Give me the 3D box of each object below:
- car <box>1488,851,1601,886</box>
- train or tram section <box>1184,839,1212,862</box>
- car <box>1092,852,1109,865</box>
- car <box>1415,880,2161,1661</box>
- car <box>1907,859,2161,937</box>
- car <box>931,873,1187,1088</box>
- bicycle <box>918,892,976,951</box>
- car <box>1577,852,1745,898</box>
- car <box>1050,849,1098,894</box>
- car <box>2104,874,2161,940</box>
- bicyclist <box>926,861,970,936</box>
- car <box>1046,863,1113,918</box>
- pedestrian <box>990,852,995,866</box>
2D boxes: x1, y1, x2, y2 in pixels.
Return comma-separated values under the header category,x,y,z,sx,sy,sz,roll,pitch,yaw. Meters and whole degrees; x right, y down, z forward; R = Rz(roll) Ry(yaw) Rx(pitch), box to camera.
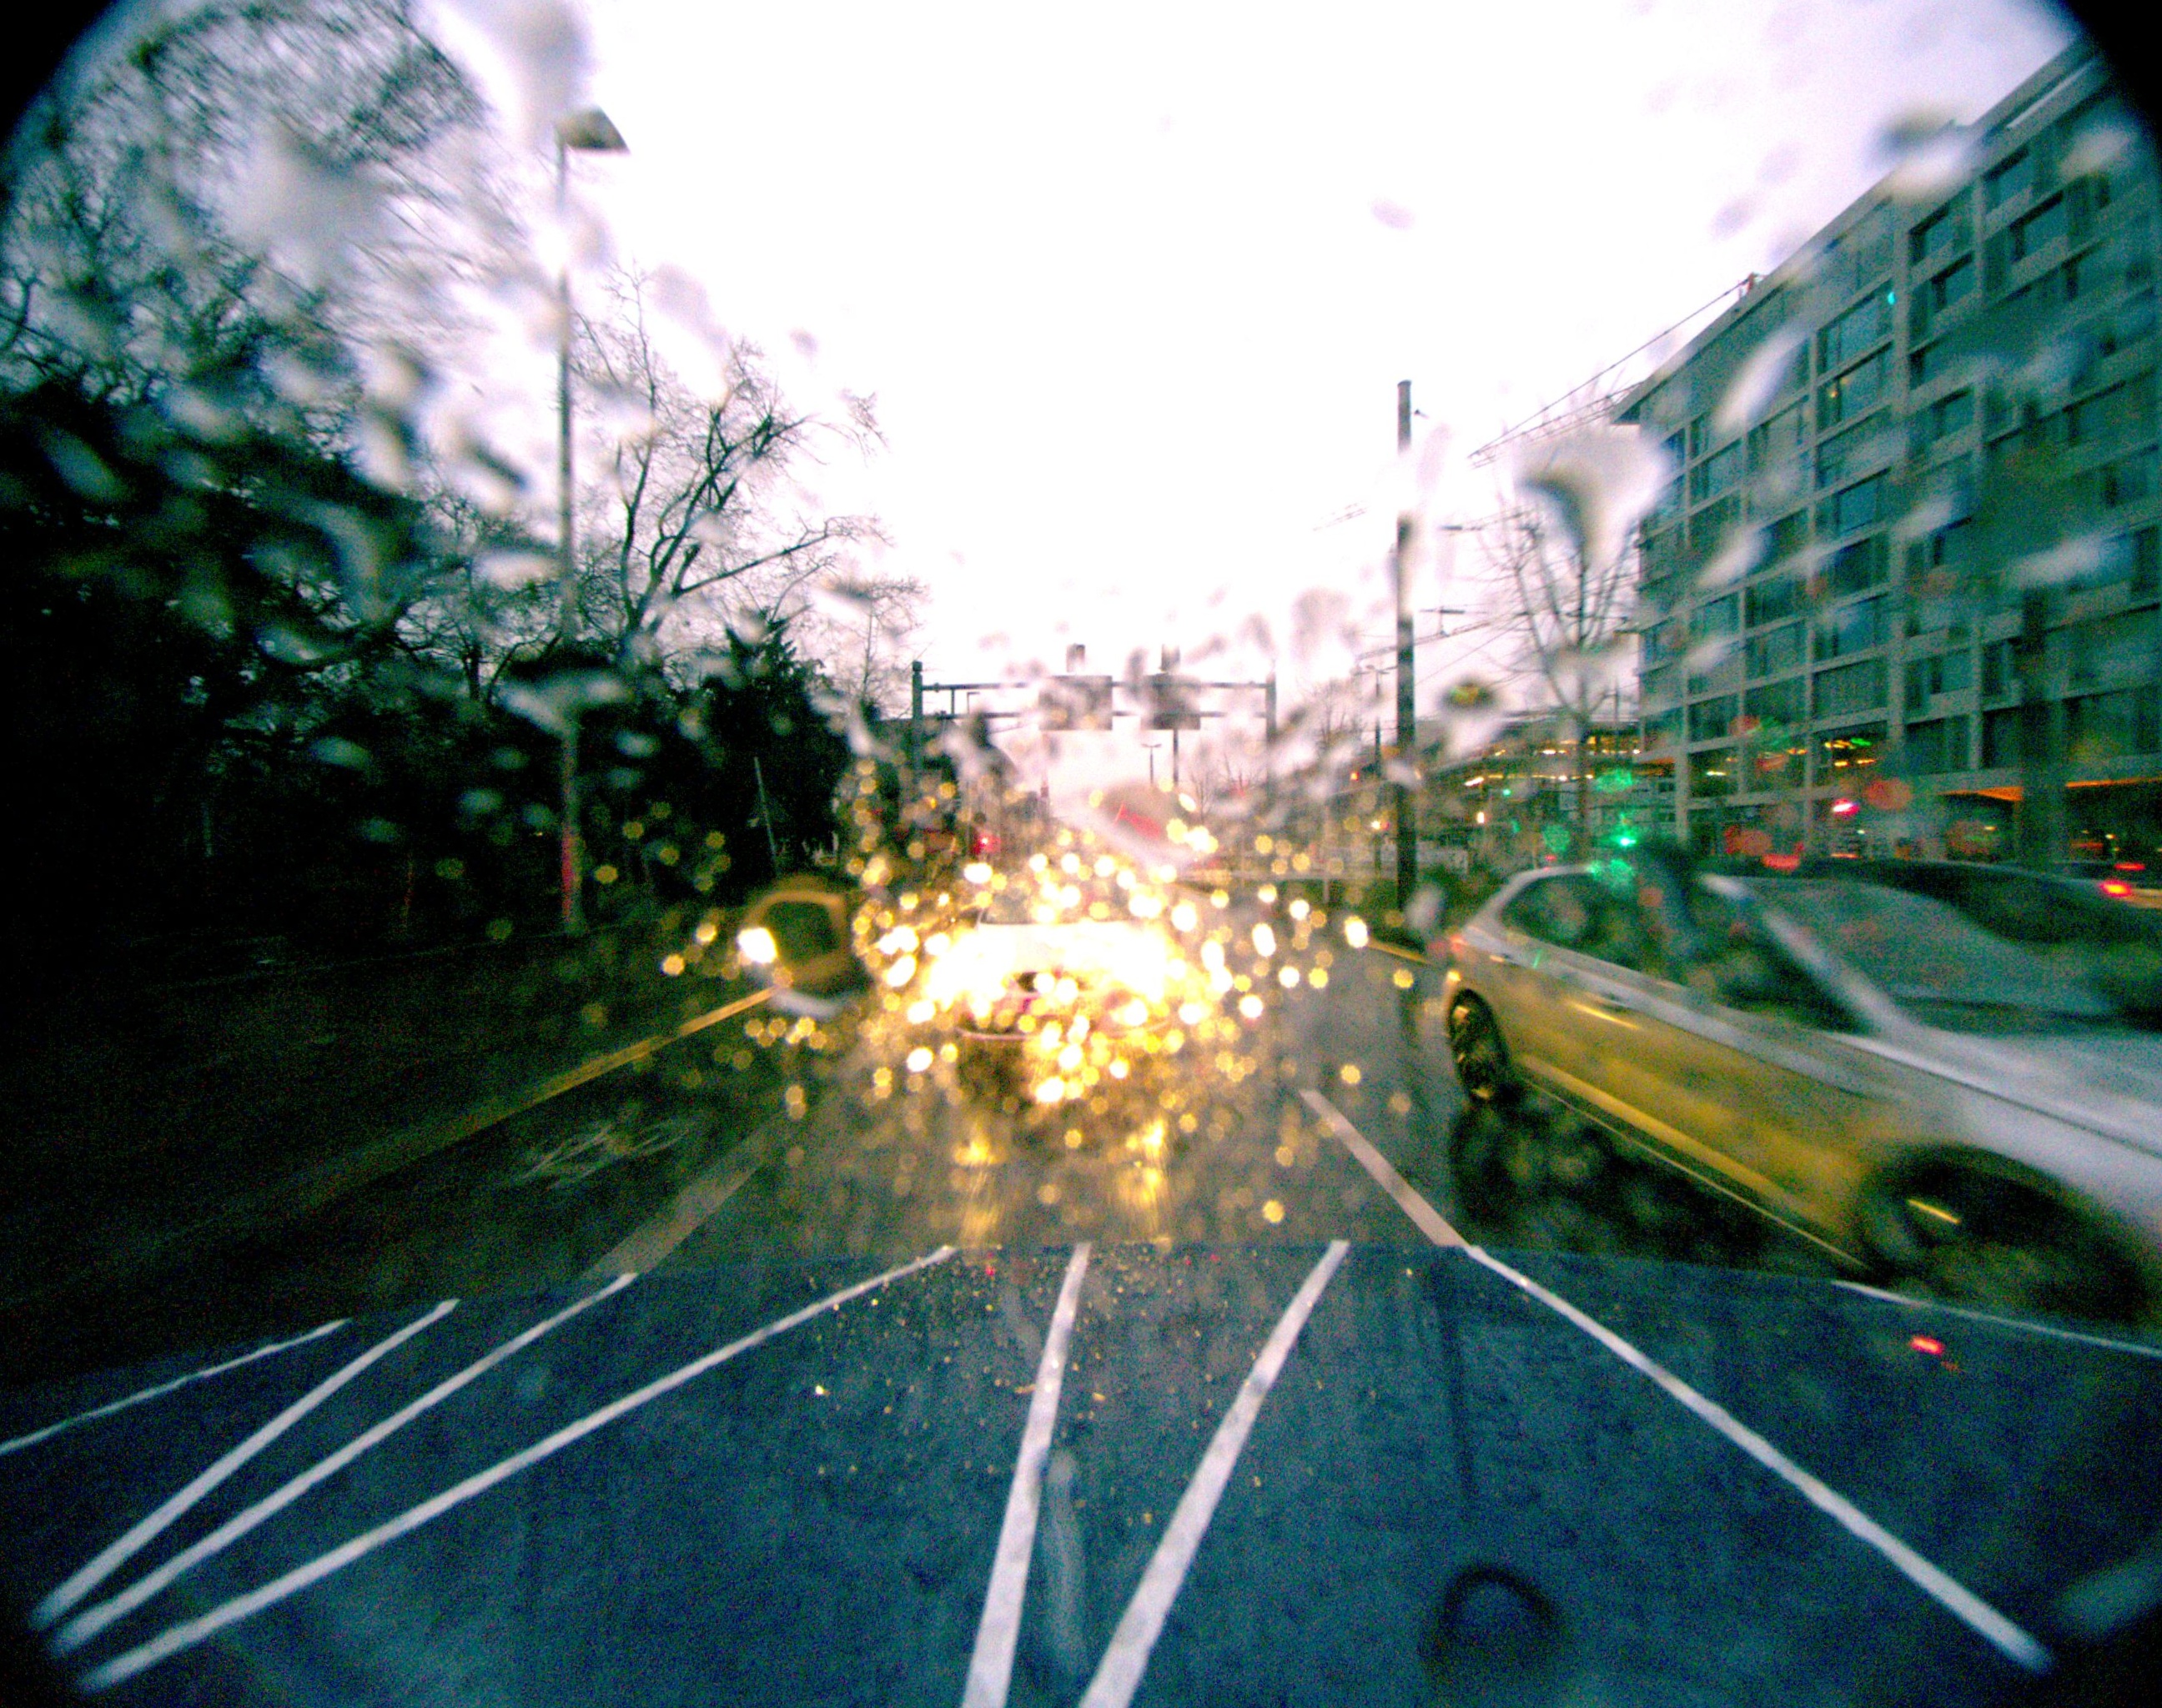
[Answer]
category,x,y,z,sx,sy,sz,roll,pitch,yaw
car,20.334,0.585,33.645,1.998,1.459,5.034,0,0,1
train or tram section,18.642,-0.605,122.254,2.964,3.466,14.268,0,0,3
car,2.145,0.482,82.379,1.767,1.363,3.981,-2,1,1
car,3.009,0.888,2.809,1.767,1.363,3.980,-2,1,0
car,20.296,0.829,15.944,1.901,1.423,3.706,0,0,0
car,-0.160,0.964,7.456,1.798,1.363,3.980,-2,1,0
bicycle,-2.550,1.265,14.642,0.647,0.961,2.047,0,0,3
car,20.383,0.679,26.953,2.001,1.488,4.444,0,0,-15
car,-0.286,0.648,31.082,1.781,1.666,3.980,-2,1,0
car,26.132,1.251,16.306,1.900,1.507,4.792,0,0,1
bicyclist,-2.542,0.837,14.617,0.647,1.381,0.890,0,1,3
car,-0.038,0.985,21.971,1.728,1.318,3.980,-2,1,0
pedestrian,-9.408,0.553,80.686,0.521,1.501,0.588,0,1,1
